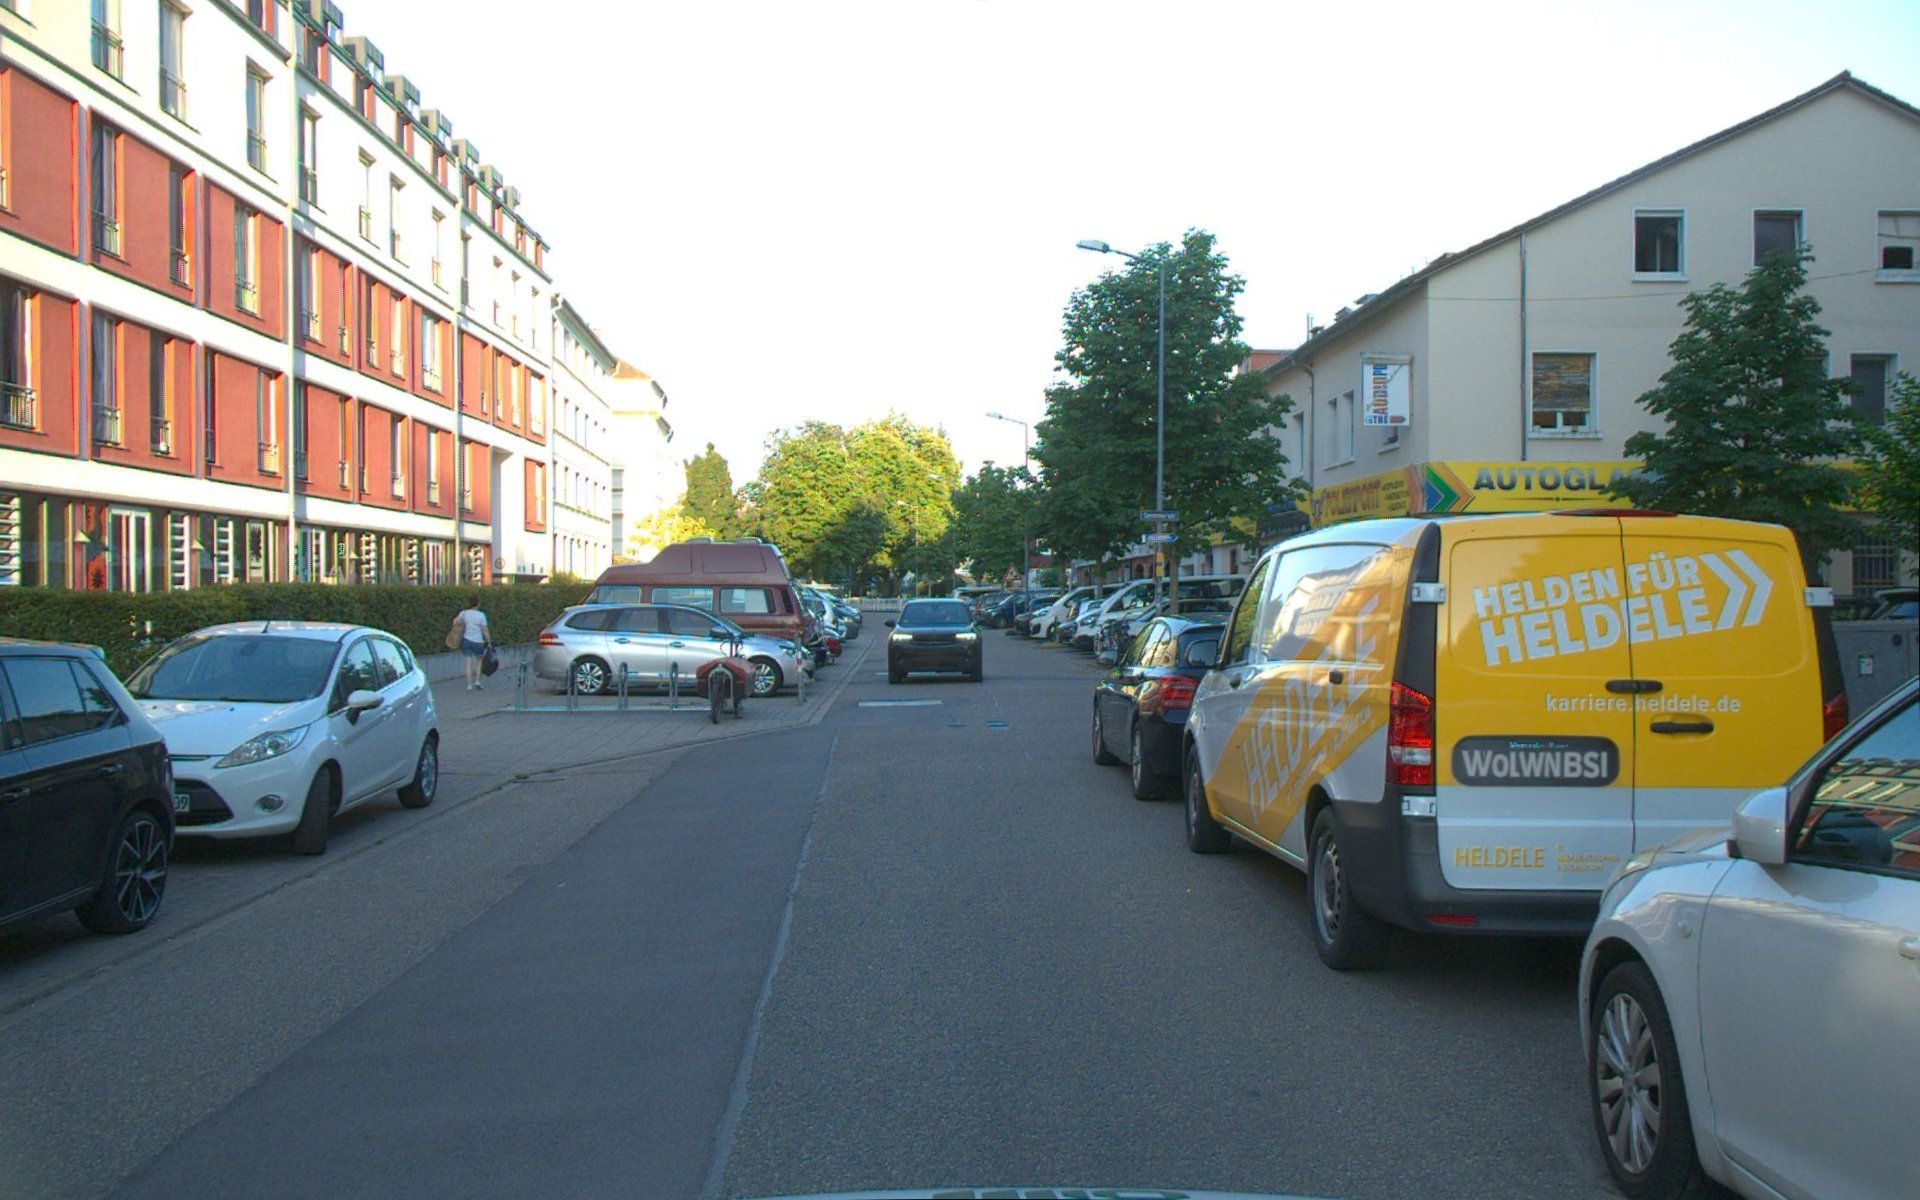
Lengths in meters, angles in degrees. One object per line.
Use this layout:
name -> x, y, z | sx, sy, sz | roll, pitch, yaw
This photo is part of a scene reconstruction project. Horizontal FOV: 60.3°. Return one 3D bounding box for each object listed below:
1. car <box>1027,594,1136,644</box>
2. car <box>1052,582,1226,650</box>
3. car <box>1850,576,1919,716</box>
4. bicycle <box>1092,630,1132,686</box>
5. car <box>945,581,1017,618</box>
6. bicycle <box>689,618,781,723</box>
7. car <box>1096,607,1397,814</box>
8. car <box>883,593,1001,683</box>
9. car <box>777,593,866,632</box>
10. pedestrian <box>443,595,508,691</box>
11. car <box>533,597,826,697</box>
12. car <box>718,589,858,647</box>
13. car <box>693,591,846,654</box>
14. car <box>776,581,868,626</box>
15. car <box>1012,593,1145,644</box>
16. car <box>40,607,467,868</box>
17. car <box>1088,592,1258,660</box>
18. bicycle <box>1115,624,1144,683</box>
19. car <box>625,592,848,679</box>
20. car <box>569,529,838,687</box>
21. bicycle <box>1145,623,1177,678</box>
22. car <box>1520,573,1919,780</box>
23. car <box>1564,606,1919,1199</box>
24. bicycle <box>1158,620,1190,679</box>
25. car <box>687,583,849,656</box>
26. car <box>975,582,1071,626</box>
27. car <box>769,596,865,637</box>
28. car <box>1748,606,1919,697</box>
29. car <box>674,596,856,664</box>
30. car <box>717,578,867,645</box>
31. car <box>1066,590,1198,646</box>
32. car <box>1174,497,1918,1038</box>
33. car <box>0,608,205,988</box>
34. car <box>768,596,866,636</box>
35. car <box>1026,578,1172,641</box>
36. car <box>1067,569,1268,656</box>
car -> 4.995, 0.776, 68.327 | 4.231, 1.835, 1.810 | -2, 0, -3
car -> 5.222, 0.458, 48.664 | 4.844, 1.772, 2.049 | -2, 0, -1
car -> 13.776, 0.557, 20.735 | 4.233, 1.702, 1.877 | -1, -2, -4
bicycle -> 3.314, 1.256, 36.136 | 0.429, 1.150, 2.014 | -1, 0, -7
car -> 1.209, -0.024, 96.403 | 3.892, 1.945, 2.046 | -2, 0, -6
bicycle -> -2.910, 0.876, 21.686 | 0.791, 1.243, 2.865 | 1, 0, 0
car -> 2.240, 0.806, 14.033 | 1.686, 1.449, 4.252 | 1, 0, -2
car -> -0.276, 0.675, 31.434 | 1.741, 1.544, 4.003 | -2, 0, 6
car -> -6.677, 0.600, 80.206 | 4.170, 1.780, 1.999 | 1, 0, -2
pedestrian -> -7.896, 0.689, 26.981 | 0.815, 1.527, 0.798 | 1, 0, -1
car -> -4.463, 0.748, 26.943 | 4.525, 1.486, 1.879 | 1, 0, -5
car -> -5.354, 0.558, 51.925 | 4.170, 1.681, 1.887 | 1, 0, -2
car -> -5.422, 0.634, 47.567 | 4.170, 1.689, 1.999 | 1, 0, -2
car -> -6.888, 0.182, 82.948 | 4.442, 2.171, 1.999 | 1, 0, -2
car -> 4.507, 0.698, 63.408 | 4.846, 1.718, 2.076 | -2, 0, -3
car -> -4.874, 0.841, 12.041 | 1.618, 1.557, 4.014 | 0, 0, -4
car -> 5.179, 0.618, 40.530 | 3.841, 1.476, 1.767 | -2, 0, -4
bicycle -> 3.717, 1.165, 36.333 | 0.378, 1.221, 2.017 | -1, 0, -1
car -> -4.265, 0.678, 32.095 | 4.125, 1.565, 1.790 | 1, 0, -3
car -> -4.495, 0.139, 29.522 | 4.419, 2.629, 2.000 | 1, 0, 0
bicycle -> 4.411, 1.084, 36.384 | 0.378, 1.133, 2.017 | -1, 0, -1
car -> 6.486, 0.546, 14.160 | 1.691, 1.449, 4.421 | -2, 0, -3
car -> 2.558, 0.773, 2.905 | 1.640, 1.503, 3.862 | 0, 0, 1
bicycle -> 4.691, 1.068, 36.378 | 0.378, 1.221, 2.017 | -1, 0, -1
car -> -5.176, 0.527, 45.101 | 4.170, 1.868, 1.999 | 1, 0, -2
car -> 3.062, 0.190, 80.842 | 4.393, 1.945, 1.685 | -2, 0, -6
car -> -6.503, 0.733, 75.546 | 4.170, 1.744, 1.999 | 1, 0, -2
car -> 16.557, 0.879, 30.427 | 1.706, 1.536, 4.569 | 0, 0, -4
car -> -4.633, 0.708, 39.694 | 4.123, 1.516, 1.849 | 1, 0, -1
car -> -5.492, 0.374, 54.478 | 4.752, 2.056, 1.906 | 1, 0, -2
car -> 5.307, 0.540, 51.299 | 3.832, 1.552, 1.939 | -2, 0, -1
car -> 2.430, 0.598, 8.444 | 1.855, 1.917, 5.080 | 0, 0, -2
car -> -4.810, 0.822, 6.850 | 1.669, 1.561, 3.843 | 0, 0, -1
car -> -6.263, 0.679, 72.811 | 4.171, 1.650, 1.999 | 1, 0, -3
car -> 4.885, 0.329, 58.476 | 4.846, 1.992, 2.048 | -2, 0, -3
car -> 5.371, 0.319, 43.324 | 4.889, 2.018, 2.219 | -2, 0, -1
